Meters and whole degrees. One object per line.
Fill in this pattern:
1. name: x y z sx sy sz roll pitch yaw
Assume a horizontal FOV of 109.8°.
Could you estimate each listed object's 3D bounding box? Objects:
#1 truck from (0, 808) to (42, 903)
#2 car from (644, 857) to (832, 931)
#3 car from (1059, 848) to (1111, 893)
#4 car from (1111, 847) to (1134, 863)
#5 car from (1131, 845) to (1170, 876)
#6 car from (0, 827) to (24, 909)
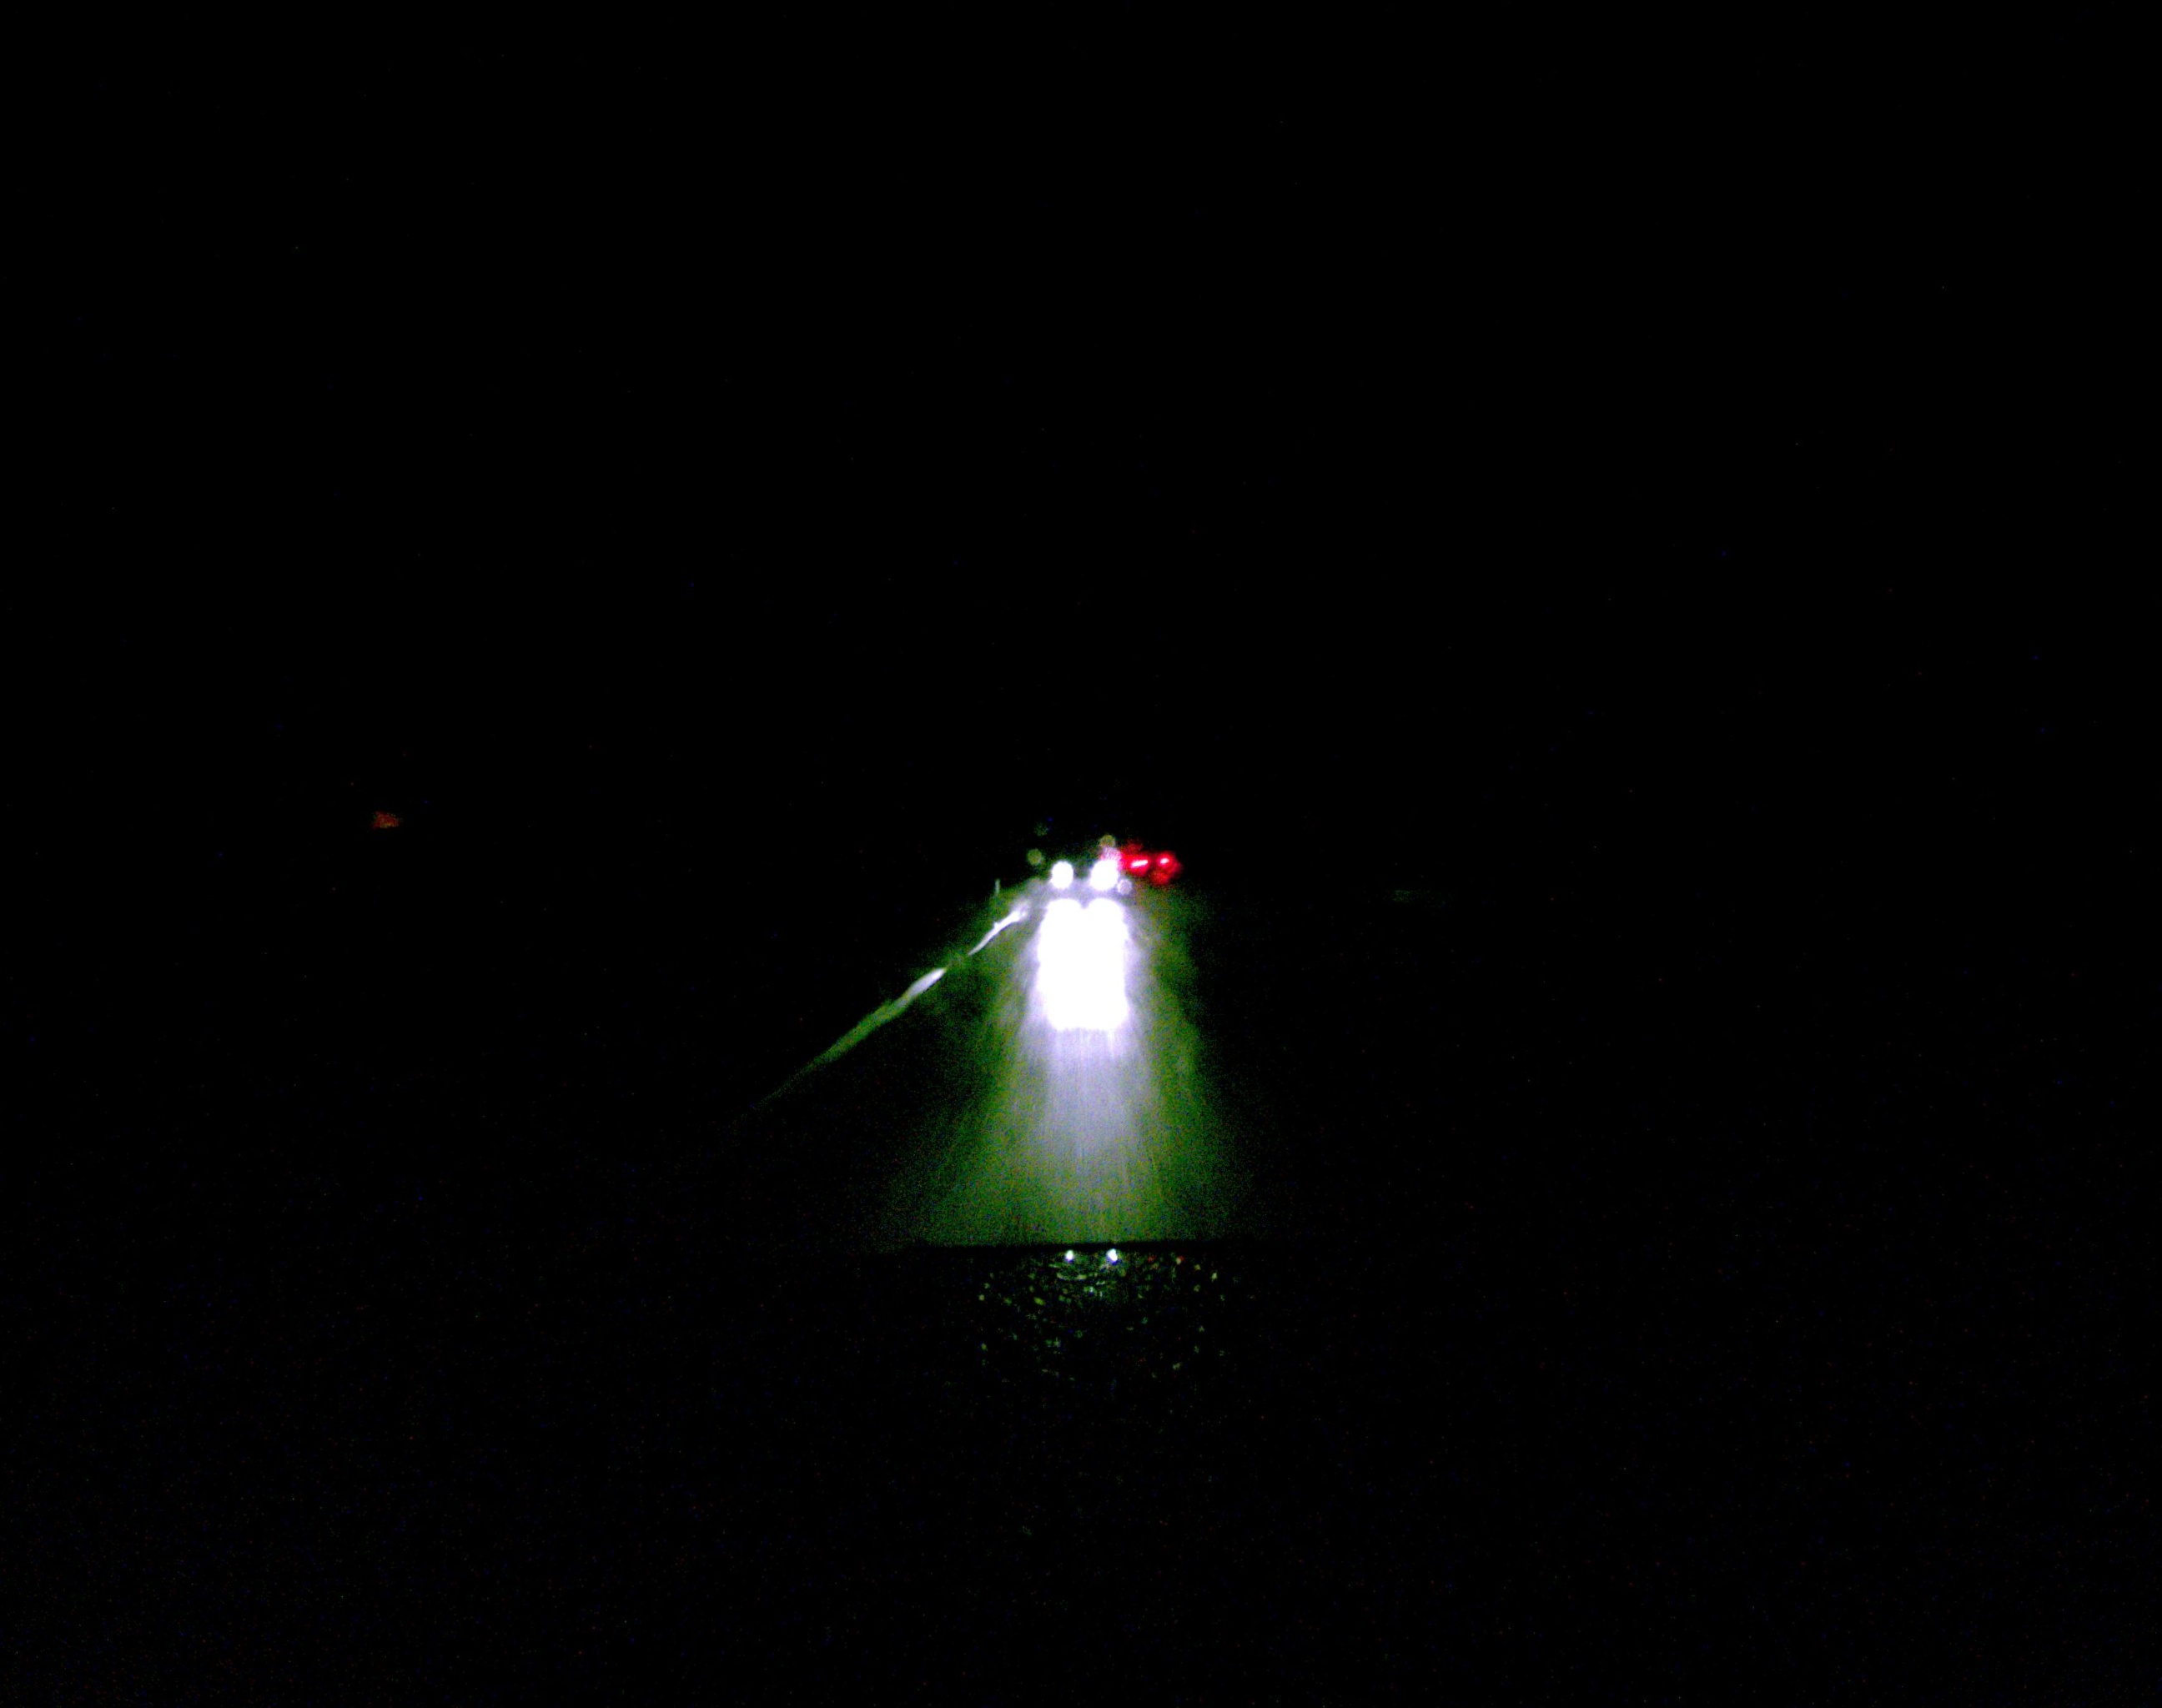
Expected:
1. truck: -33.955 0.137 21.225 5.360 2.737 2.222 -2 1 -22
2. car: -7.998 0.877 17.820 3.731 1.512 1.751 1 2 14
3. car: 0.149 0.586 30.279 1.863 1.601 4.418 -2 1 0
4. car: 4.118 0.059 75.821 1.951 1.464 4.095 -3 1 0
5. car: 3.939 0.336 43.526 1.834 1.637 3.999 -1 1 0
6. car: -28.825 0.364 18.013 4.753 2.002 2.000 0 1 1
